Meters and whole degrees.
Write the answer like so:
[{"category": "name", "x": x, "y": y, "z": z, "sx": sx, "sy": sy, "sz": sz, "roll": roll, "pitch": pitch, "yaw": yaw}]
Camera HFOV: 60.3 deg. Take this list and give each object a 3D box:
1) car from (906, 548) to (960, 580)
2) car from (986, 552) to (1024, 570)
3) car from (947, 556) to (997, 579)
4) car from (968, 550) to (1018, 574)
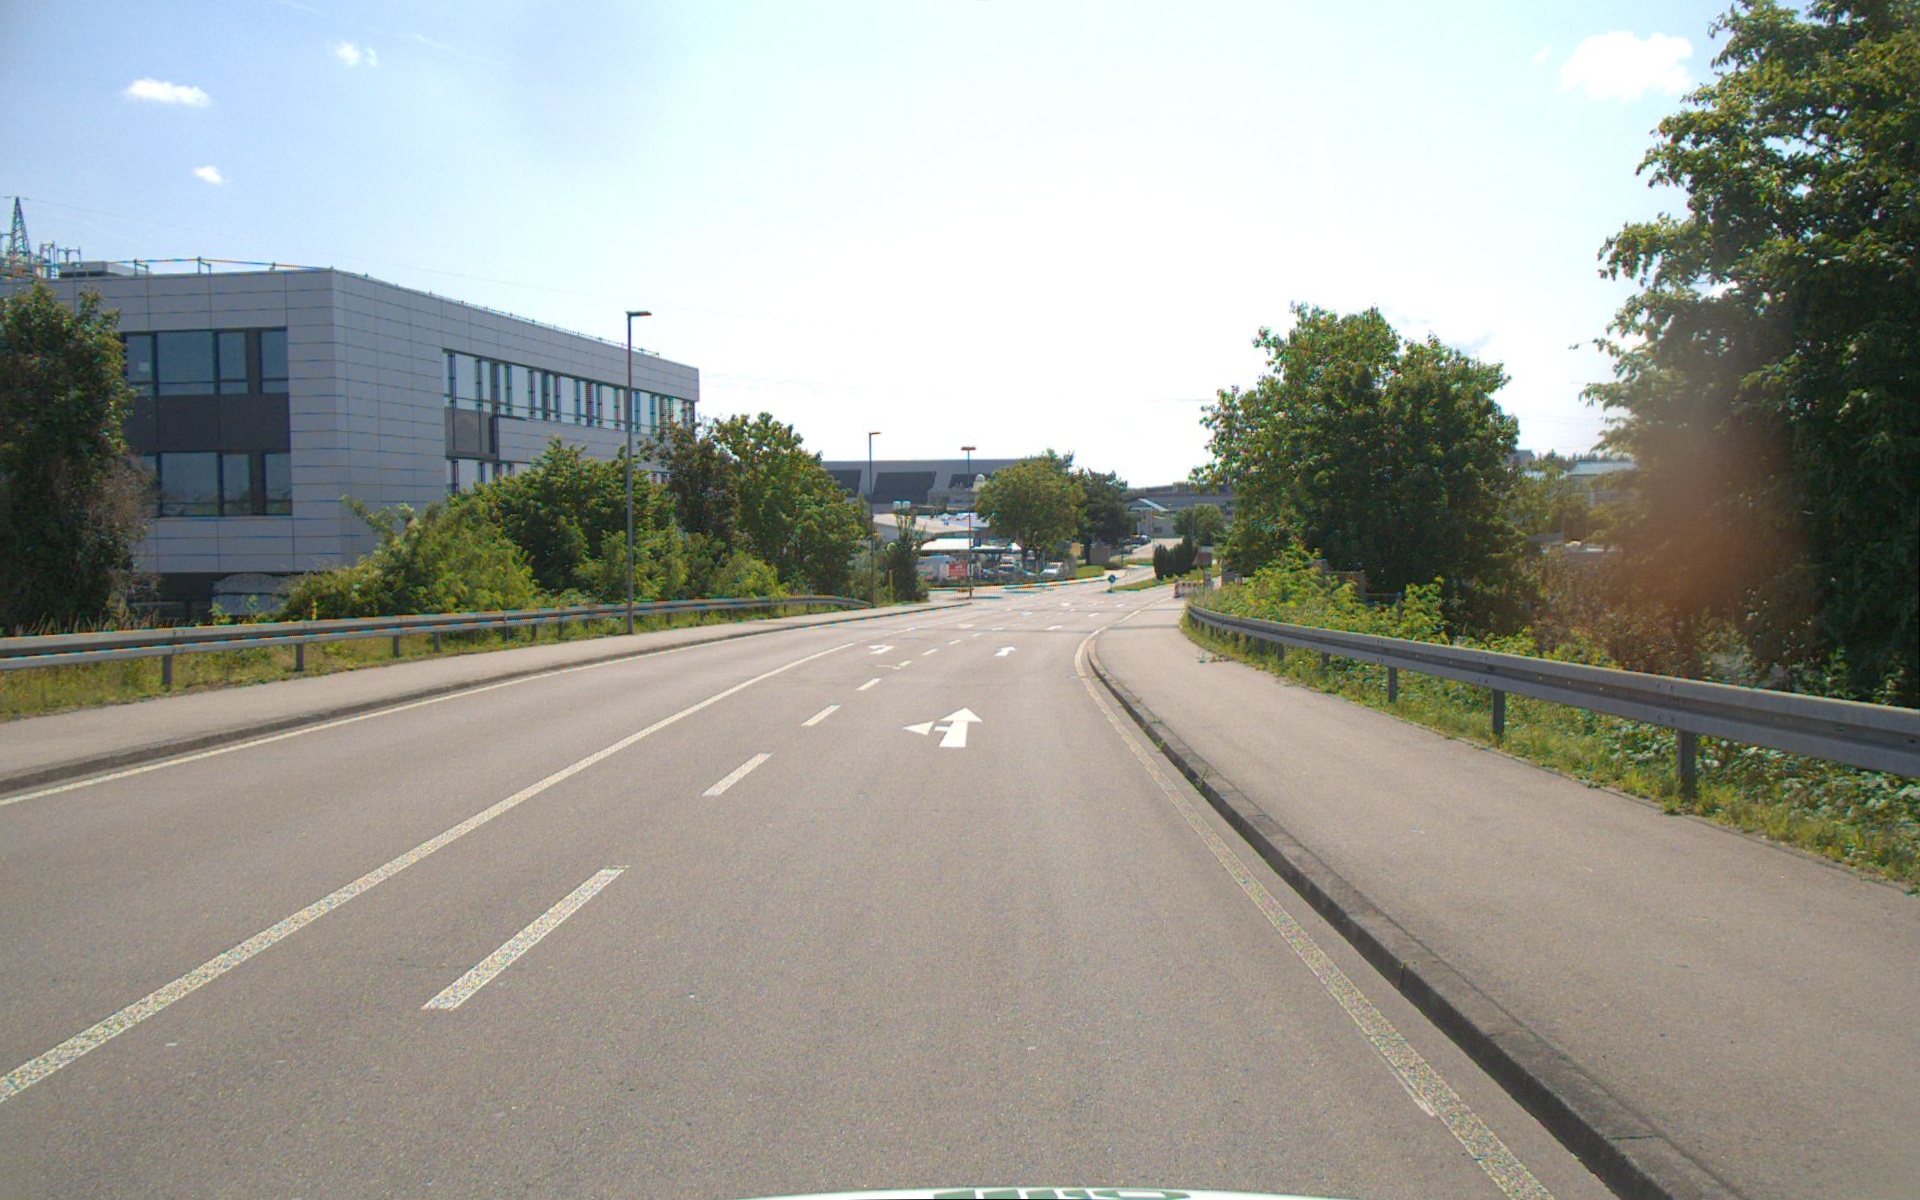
[{"category": "car", "x": -2.276, "y": -3.025, "z": 138.153, "sx": 4.281, "sy": 2.653, "sz": 1.991, "roll": 1, "pitch": 2, "yaw": 38}, {"category": "car", "x": 4.803, "y": -4.111, "z": 175.942, "sx": 3.906, "sy": 1.882, "sz": 1.834, "roll": 0, "pitch": 2, "yaw": -1}, {"category": "car", "x": 1.005, "y": -2.754, "z": 140.847, "sx": 3.920, "sy": 1.811, "sz": 1.993, "roll": 3, "pitch": 4, "yaw": 36}, {"category": "car", "x": 2.878, "y": -3.325, "z": 144.162, "sx": 3.921, "sy": 1.936, "sz": 1.993, "roll": 3, "pitch": 4, "yaw": 37}]
